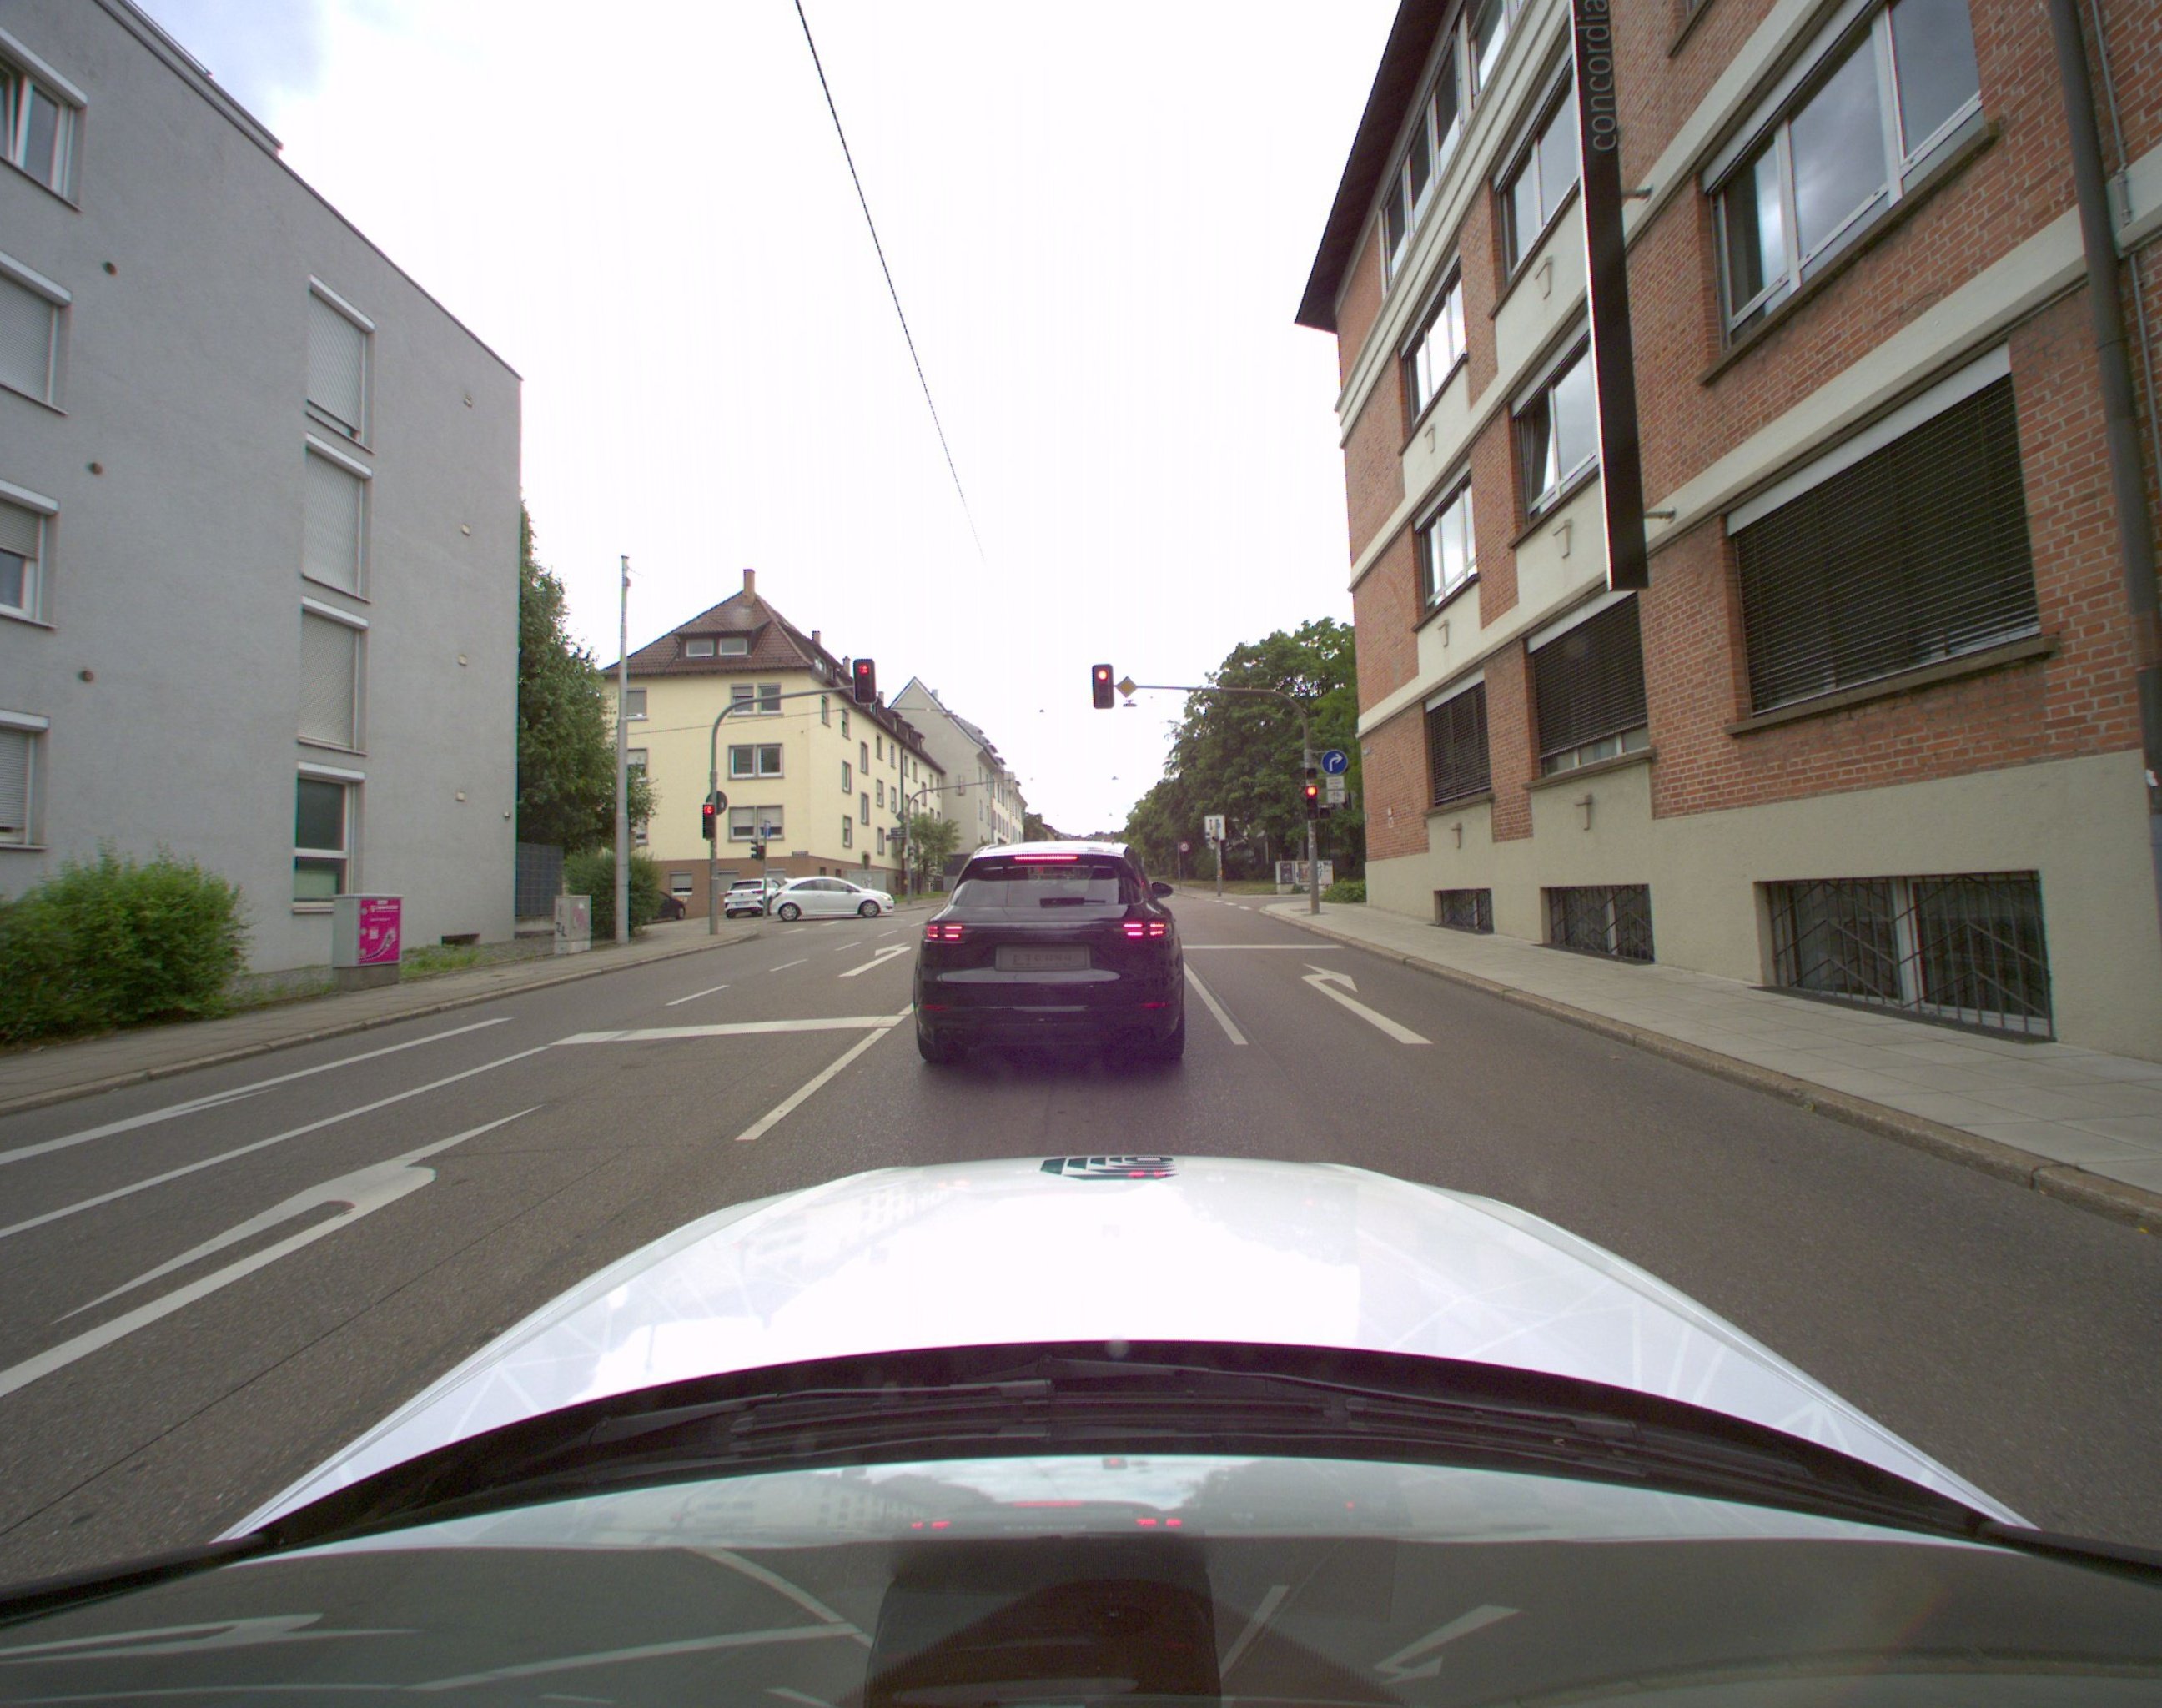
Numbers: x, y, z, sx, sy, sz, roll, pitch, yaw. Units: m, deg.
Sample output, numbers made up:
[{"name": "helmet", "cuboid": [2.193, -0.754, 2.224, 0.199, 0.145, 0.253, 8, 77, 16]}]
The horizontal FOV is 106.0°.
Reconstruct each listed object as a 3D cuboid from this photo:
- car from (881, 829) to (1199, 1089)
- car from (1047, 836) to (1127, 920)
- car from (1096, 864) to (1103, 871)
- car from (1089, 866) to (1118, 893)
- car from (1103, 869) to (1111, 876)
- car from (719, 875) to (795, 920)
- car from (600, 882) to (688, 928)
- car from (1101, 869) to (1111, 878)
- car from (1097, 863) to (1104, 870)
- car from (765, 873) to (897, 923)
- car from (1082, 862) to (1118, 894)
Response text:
[{"name": "car", "cuboid": [-0.188, 0.676, 7.374, 2.040, 1.666, 4.269, 0, 0, 2]}, {"name": "car", "cuboid": [0.232, 0.591, 22.025, 1.957, 2.042, 4.137, 0, 0, 2]}, {"name": "car", "cuboid": [4.667, 3.280, 203.057, 1.820, 1.605, 4.137, 0, 0, 2]}, {"name": "car", "cuboid": [1.472, 1.640, 52.641, 1.820, 1.605, 3.860, 0, 0, 2]}, {"name": "car", "cuboid": [5.876, 4.115, 182.535, 1.820, 1.605, 4.137, 0, 0, 2]}, {"name": "car", "cuboid": [-13.528, 1.766, 34.179, 1.686, 1.555, 3.763, -4, 0, -2]}, {"name": "car", "cuboid": [-18.492, 2.130, 34.643, 1.686, 1.608, 3.763, -4, 0, -2]}, {"name": "car", "cuboid": [5.039, 3.884, 163.368, 1.820, 1.605, 4.137, 0, 0, 2]}, {"name": "car", "cuboid": [5.086, 3.255, 210.379, 1.820, 1.605, 4.137, 0, 0, 2]}, {"name": "car", "cuboid": [-8.313, 1.443, 27.294, 4.064, 1.392, 1.687, -2, -1, -17]}, {"name": "car", "cuboid": [1.058, 1.261, 43.934, 1.820, 1.605, 4.137, 0, 0, 2]}]
